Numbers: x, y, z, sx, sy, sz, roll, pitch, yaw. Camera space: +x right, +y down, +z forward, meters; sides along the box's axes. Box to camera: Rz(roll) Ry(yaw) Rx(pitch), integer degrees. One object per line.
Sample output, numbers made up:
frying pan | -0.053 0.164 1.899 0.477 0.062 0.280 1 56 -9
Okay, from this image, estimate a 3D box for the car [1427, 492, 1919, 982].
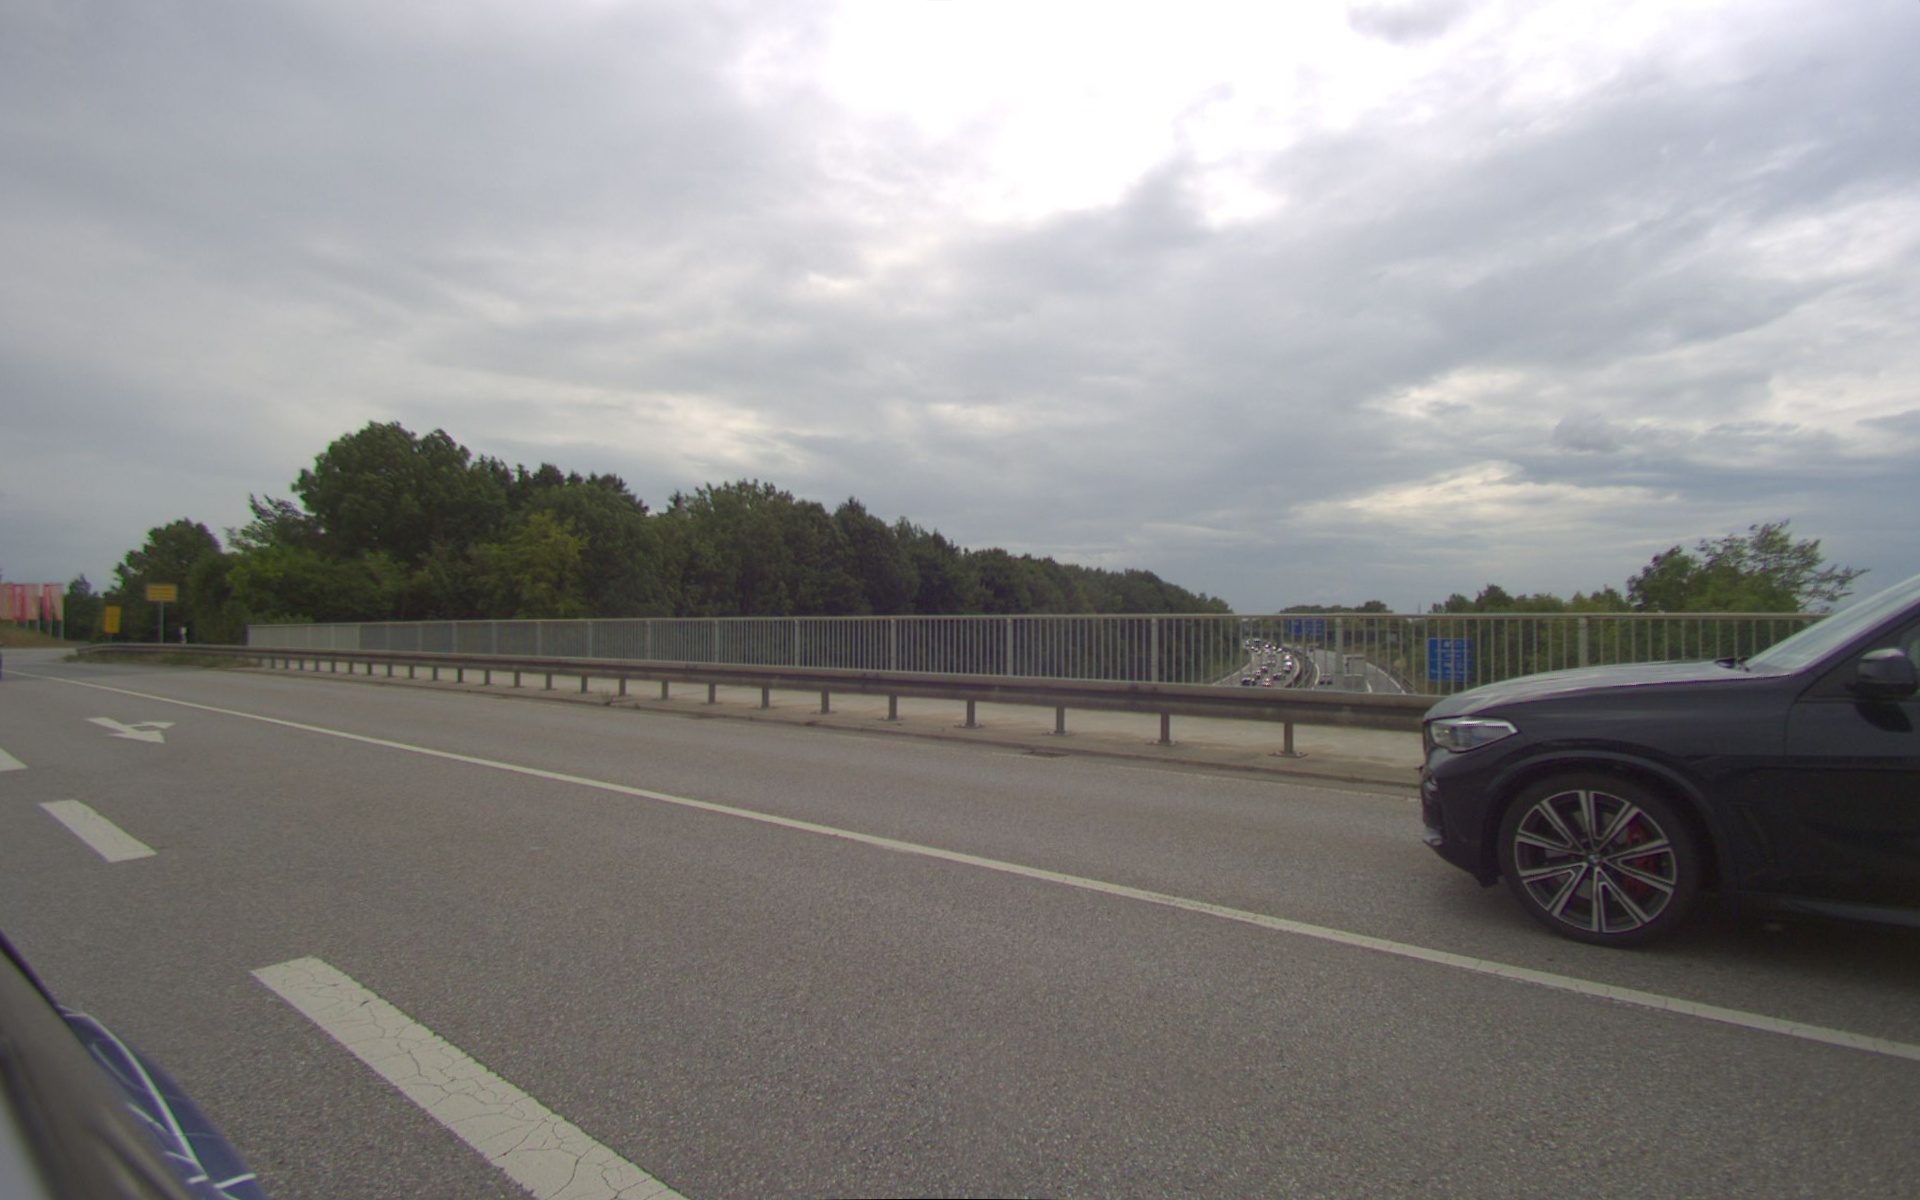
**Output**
car | 4.602 0.478 3.907 4.757 1.745 1.974 -1 0 39
